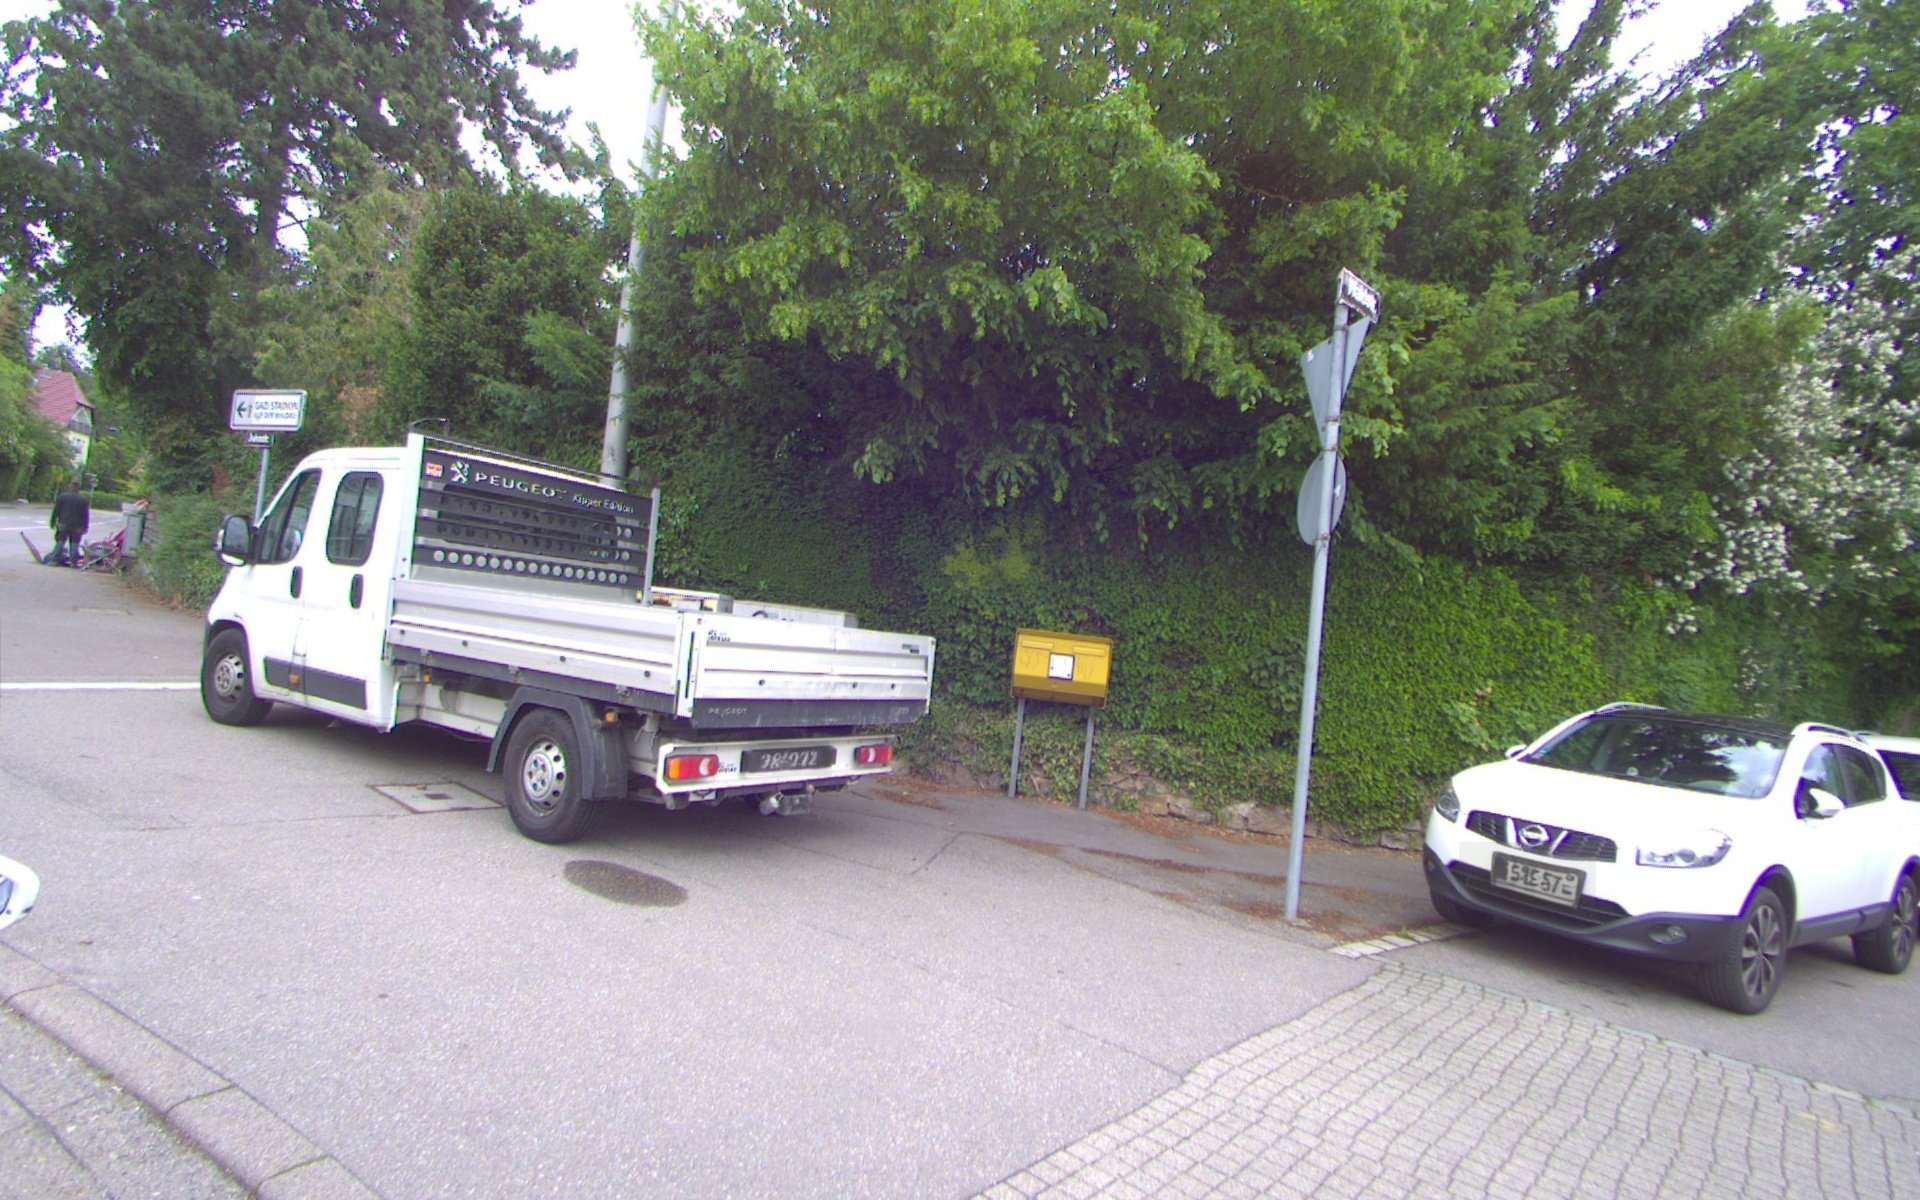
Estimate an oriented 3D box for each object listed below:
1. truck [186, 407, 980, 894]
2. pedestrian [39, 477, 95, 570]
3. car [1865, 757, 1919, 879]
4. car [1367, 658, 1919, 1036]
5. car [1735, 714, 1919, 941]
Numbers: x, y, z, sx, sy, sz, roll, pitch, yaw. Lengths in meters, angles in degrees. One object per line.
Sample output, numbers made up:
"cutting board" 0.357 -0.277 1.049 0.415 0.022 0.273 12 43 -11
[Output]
"truck" -2.929 0.087 7.154 5.631 2.270 2.211 6 -2 34
"pedestrian" -19.578 -1.674 22.057 0.549 1.929 0.597 7 -1 32
"car" 13.811 3.005 13.486 4.040 1.440 1.781 8 -2 -38
"car" 4.771 1.472 6.649 4.098 1.641 1.783 9 -2 -34
"car" 9.050 2.118 9.462 4.041 1.641 1.781 9 -3 -38
